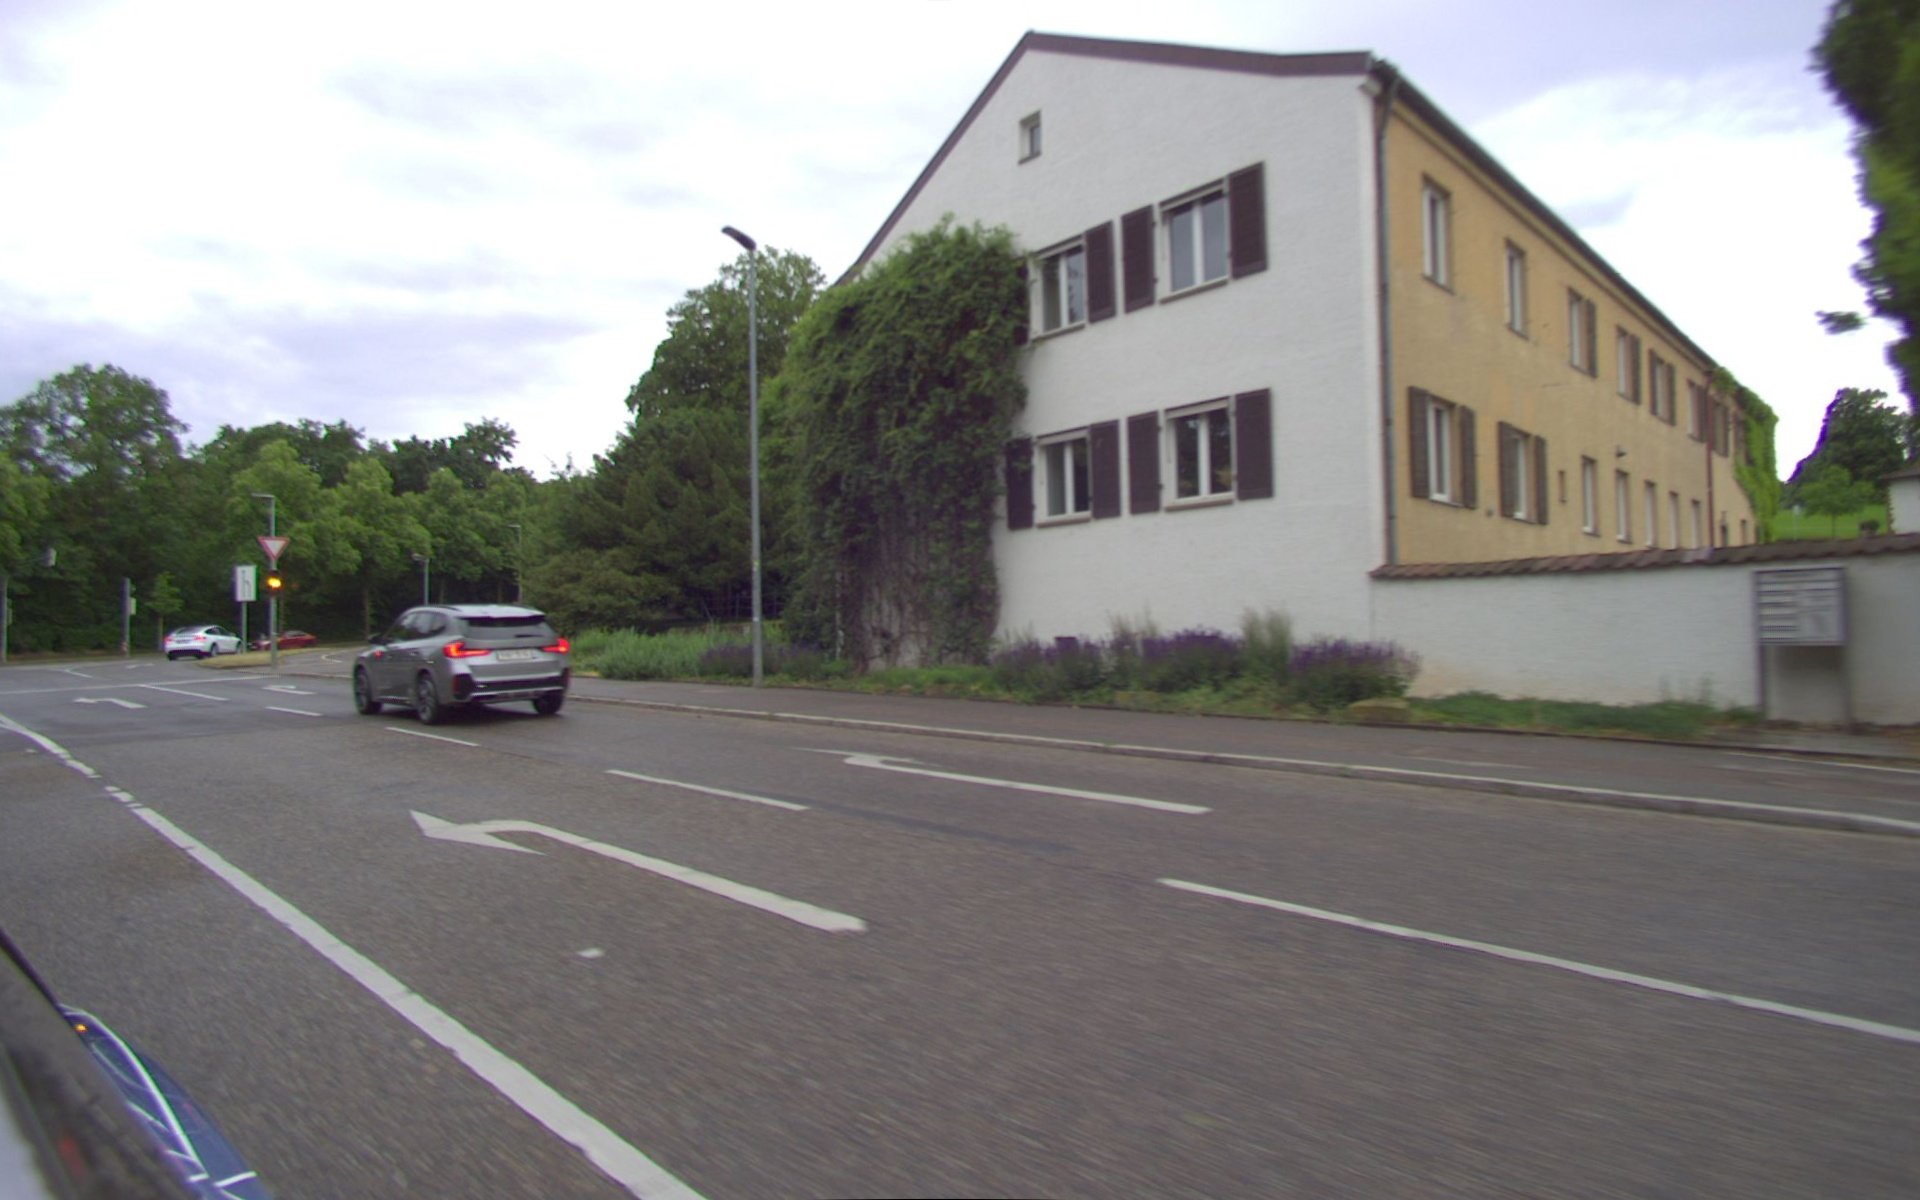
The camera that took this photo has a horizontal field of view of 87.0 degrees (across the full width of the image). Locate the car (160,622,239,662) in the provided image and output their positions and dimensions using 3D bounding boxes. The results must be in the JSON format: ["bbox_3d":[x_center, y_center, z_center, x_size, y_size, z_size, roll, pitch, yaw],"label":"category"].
[{"bbox_3d":[-37.757,2.044,50.365,1.965,1.778,4.358,-1,0,-21],"label":"car"}]

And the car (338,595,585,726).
[{"bbox_3d":[-7.463,0.841,14.944,4.345,1.640,1.899,-3,-2,44],"label":"car"}]

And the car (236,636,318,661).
[{"bbox_3d":[-47.073,3.306,69.843,1.986,1.526,4.314,-1,0,21],"label":"car"}]
